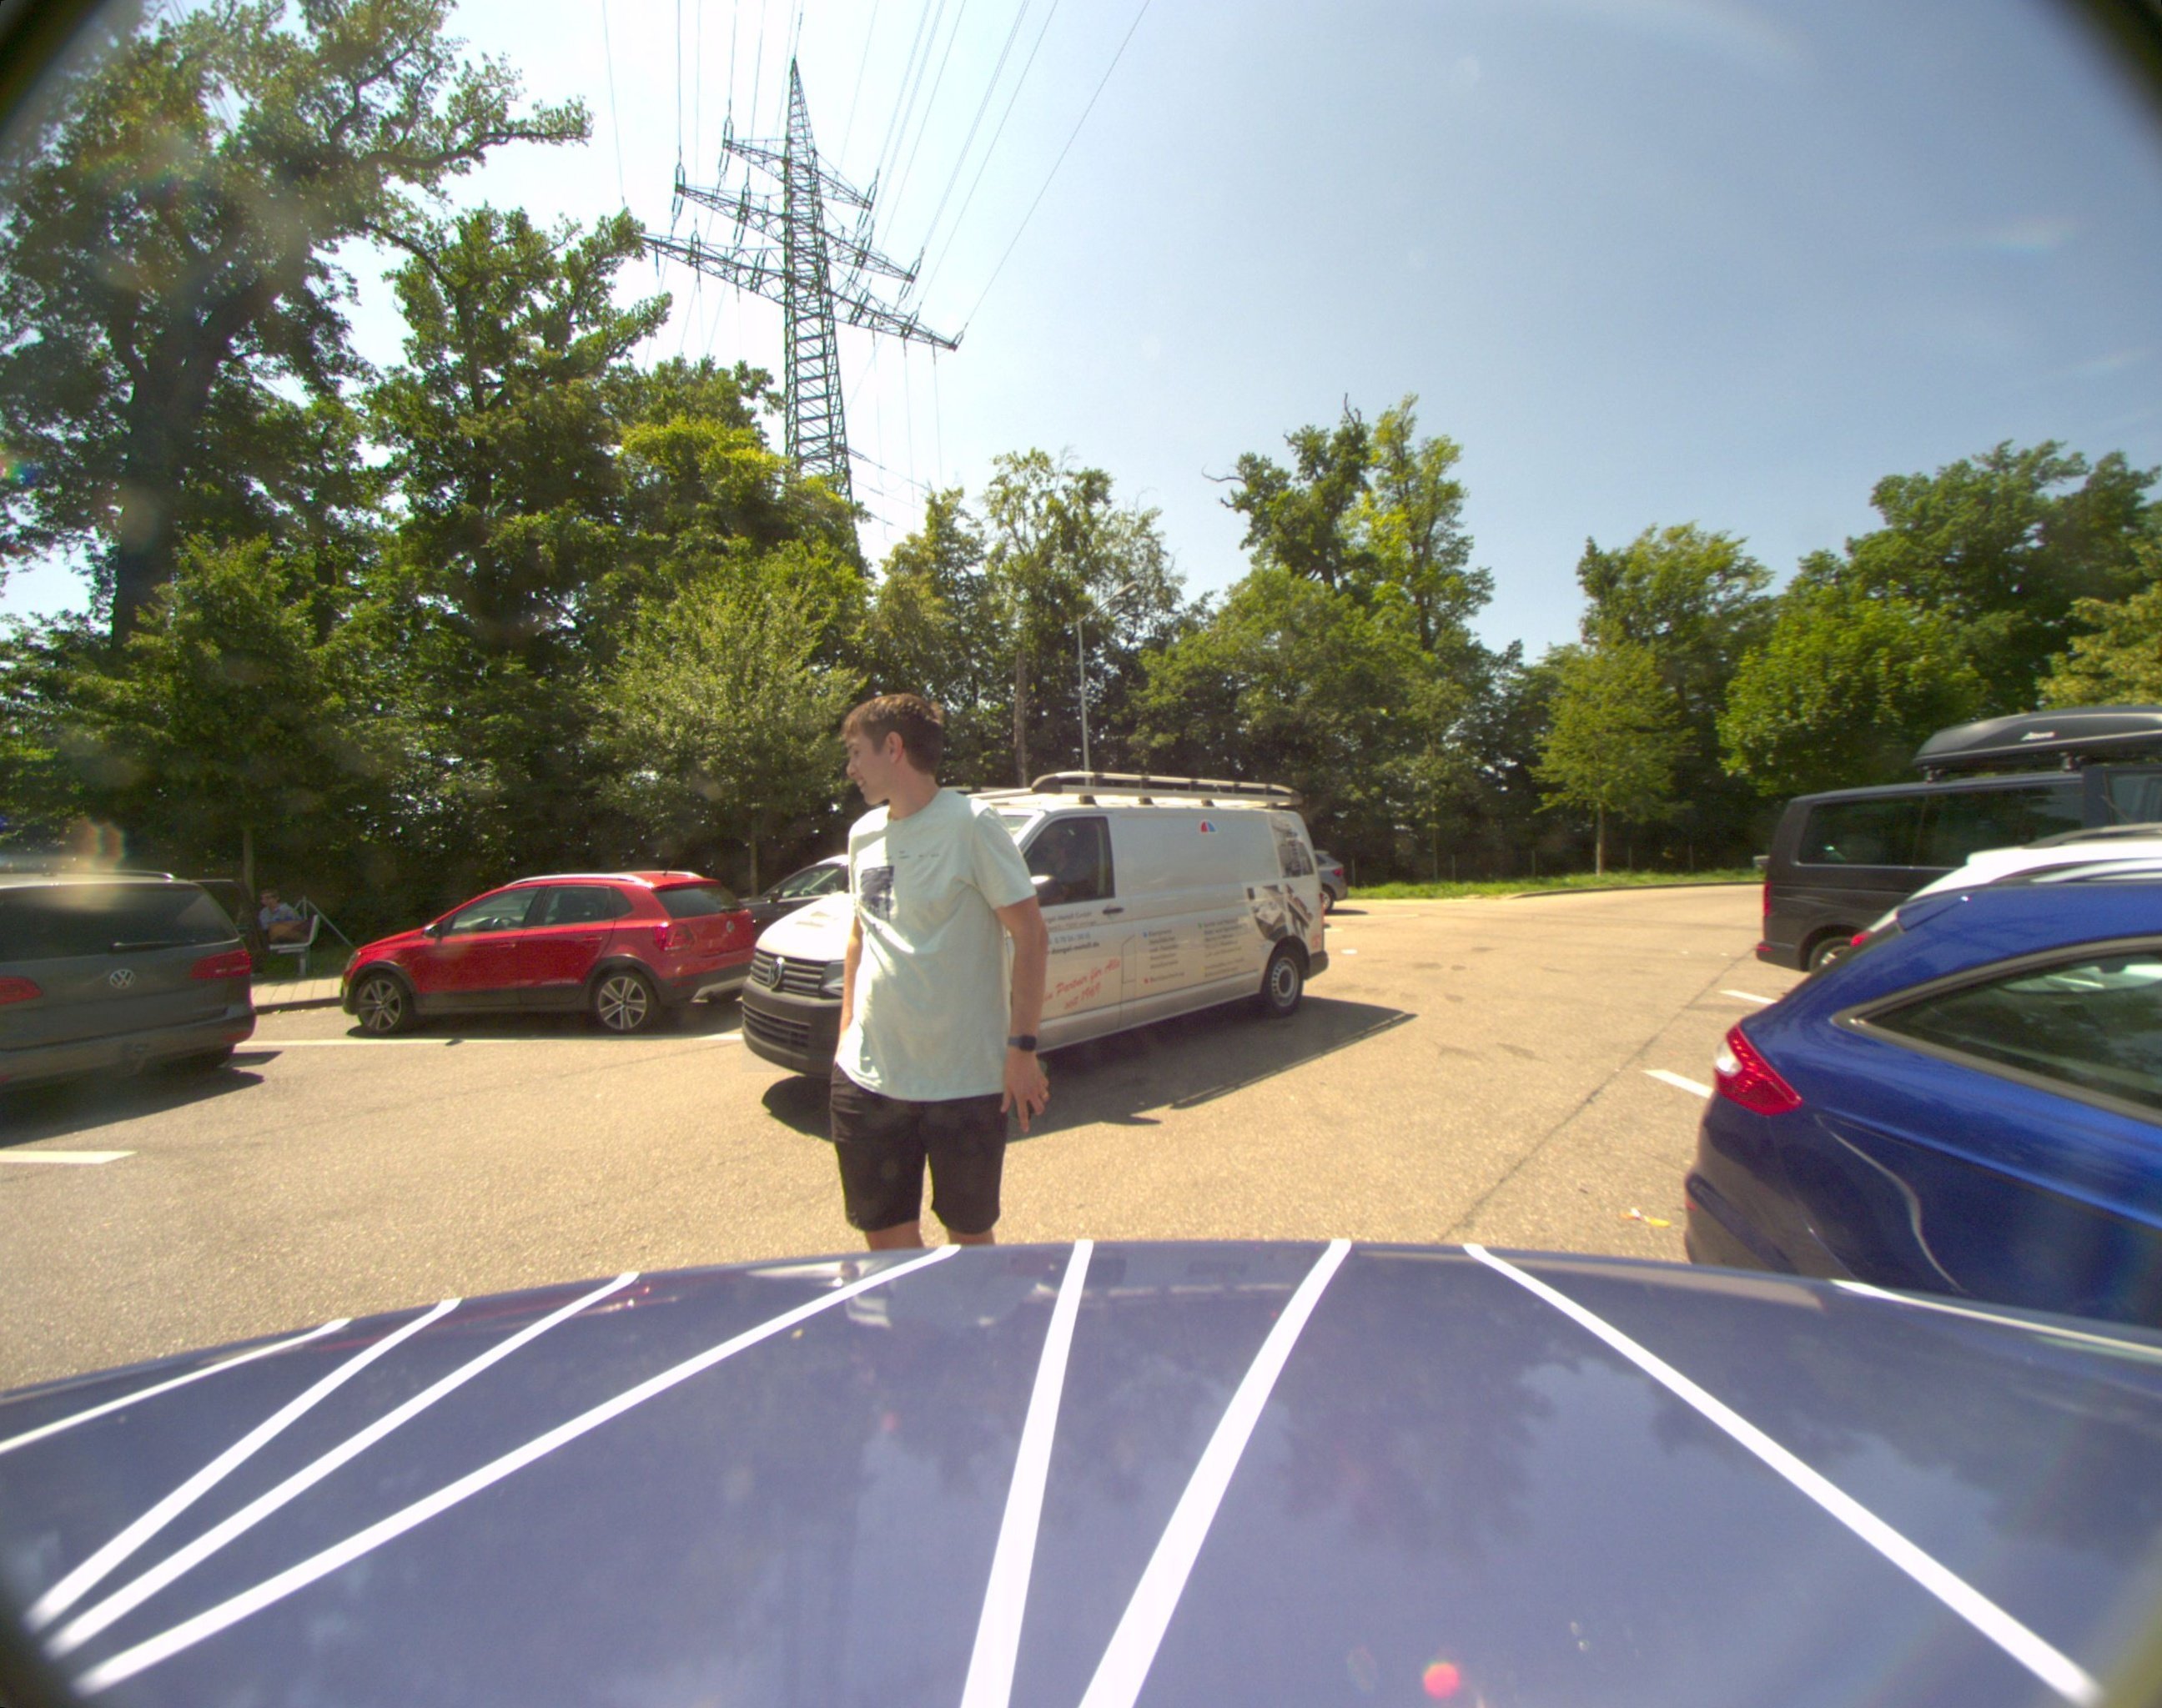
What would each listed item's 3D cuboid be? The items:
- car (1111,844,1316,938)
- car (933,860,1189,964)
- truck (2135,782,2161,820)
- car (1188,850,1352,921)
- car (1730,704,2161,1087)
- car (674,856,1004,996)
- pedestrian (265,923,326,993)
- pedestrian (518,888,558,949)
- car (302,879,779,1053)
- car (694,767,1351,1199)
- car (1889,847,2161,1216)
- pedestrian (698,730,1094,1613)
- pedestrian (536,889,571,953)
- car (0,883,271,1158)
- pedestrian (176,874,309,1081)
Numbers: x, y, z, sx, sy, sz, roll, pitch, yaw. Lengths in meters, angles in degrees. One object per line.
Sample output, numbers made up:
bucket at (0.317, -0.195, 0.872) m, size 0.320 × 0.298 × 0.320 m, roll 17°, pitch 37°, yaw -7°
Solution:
car at (2.596, 0.712, 15.467) m, size 3.850 × 1.678 × 1.755 m, roll -2°, pitch 0°, yaw 4°
car at (-0.249, 0.881, 12.222) m, size 3.773 × 1.445 × 1.848 m, roll -2°, pitch 0°, yaw 4°
truck at (40.301, -1.990, 27.128) m, size 1.168 × 1.367 × 2.882 m, roll -2°, pitch -1°, yaw -19°
car at (4.389, 0.729, 18.118) m, size 3.585 × 1.493 × 1.707 m, roll -2°, pitch 1°, yaw 8°
car at (7.321, 0.236, 5.317) m, size 1.788 × 2.304 × 4.084 m, roll -2°, pitch 0°, yaw -5°
car at (-3.095, 0.907, 10.287) m, size 3.866 × 1.607 × 1.709 m, roll -2°, pitch 0°, yaw 0°
pedestrian at (-10.820, 1.418, 10.484) m, size 0.503 × 0.873 × 0.512 m, roll -2°, pitch -1°, yaw -39°
pedestrian at (-10.984, 1.296, 15.384) m, size 0.413 × 1.186 × 0.443 m, roll -2°, pitch 1°, yaw 12°
car at (-5.254, 1.059, 7.653) m, size 3.745 × 1.458 × 1.621 m, roll -2°, pitch 0°, yaw 7°
car at (0.072, 0.589, 6.241) m, size 5.445 × 2.092 × 1.839 m, roll -2°, pitch 1°, yaw -45°
car at (4.693, 0.657, 2.220) m, size 1.344 × 1.352 × 3.114 m, roll -2°, pitch 0°, yaw 1°
pedestrian at (-0.392, 0.668, 1.902) m, size 0.739 × 1.818 × 0.614 m, roll -2°, pitch 0°, yaw 6°
pedestrian at (-10.097, 1.269, 14.539) m, size 0.366 × 1.186 × 0.356 m, roll -2°, pitch 1°, yaw 21°
car at (-8.425, 1.111, 5.436) m, size 3.903 × 1.607 × 1.705 m, roll -2°, pitch 1°, yaw 11°
pedestrian at (-7.398, 1.049, 6.720) m, size 0.481 × 1.712 × 0.589 m, roll -2°, pitch 1°, yaw 22°
